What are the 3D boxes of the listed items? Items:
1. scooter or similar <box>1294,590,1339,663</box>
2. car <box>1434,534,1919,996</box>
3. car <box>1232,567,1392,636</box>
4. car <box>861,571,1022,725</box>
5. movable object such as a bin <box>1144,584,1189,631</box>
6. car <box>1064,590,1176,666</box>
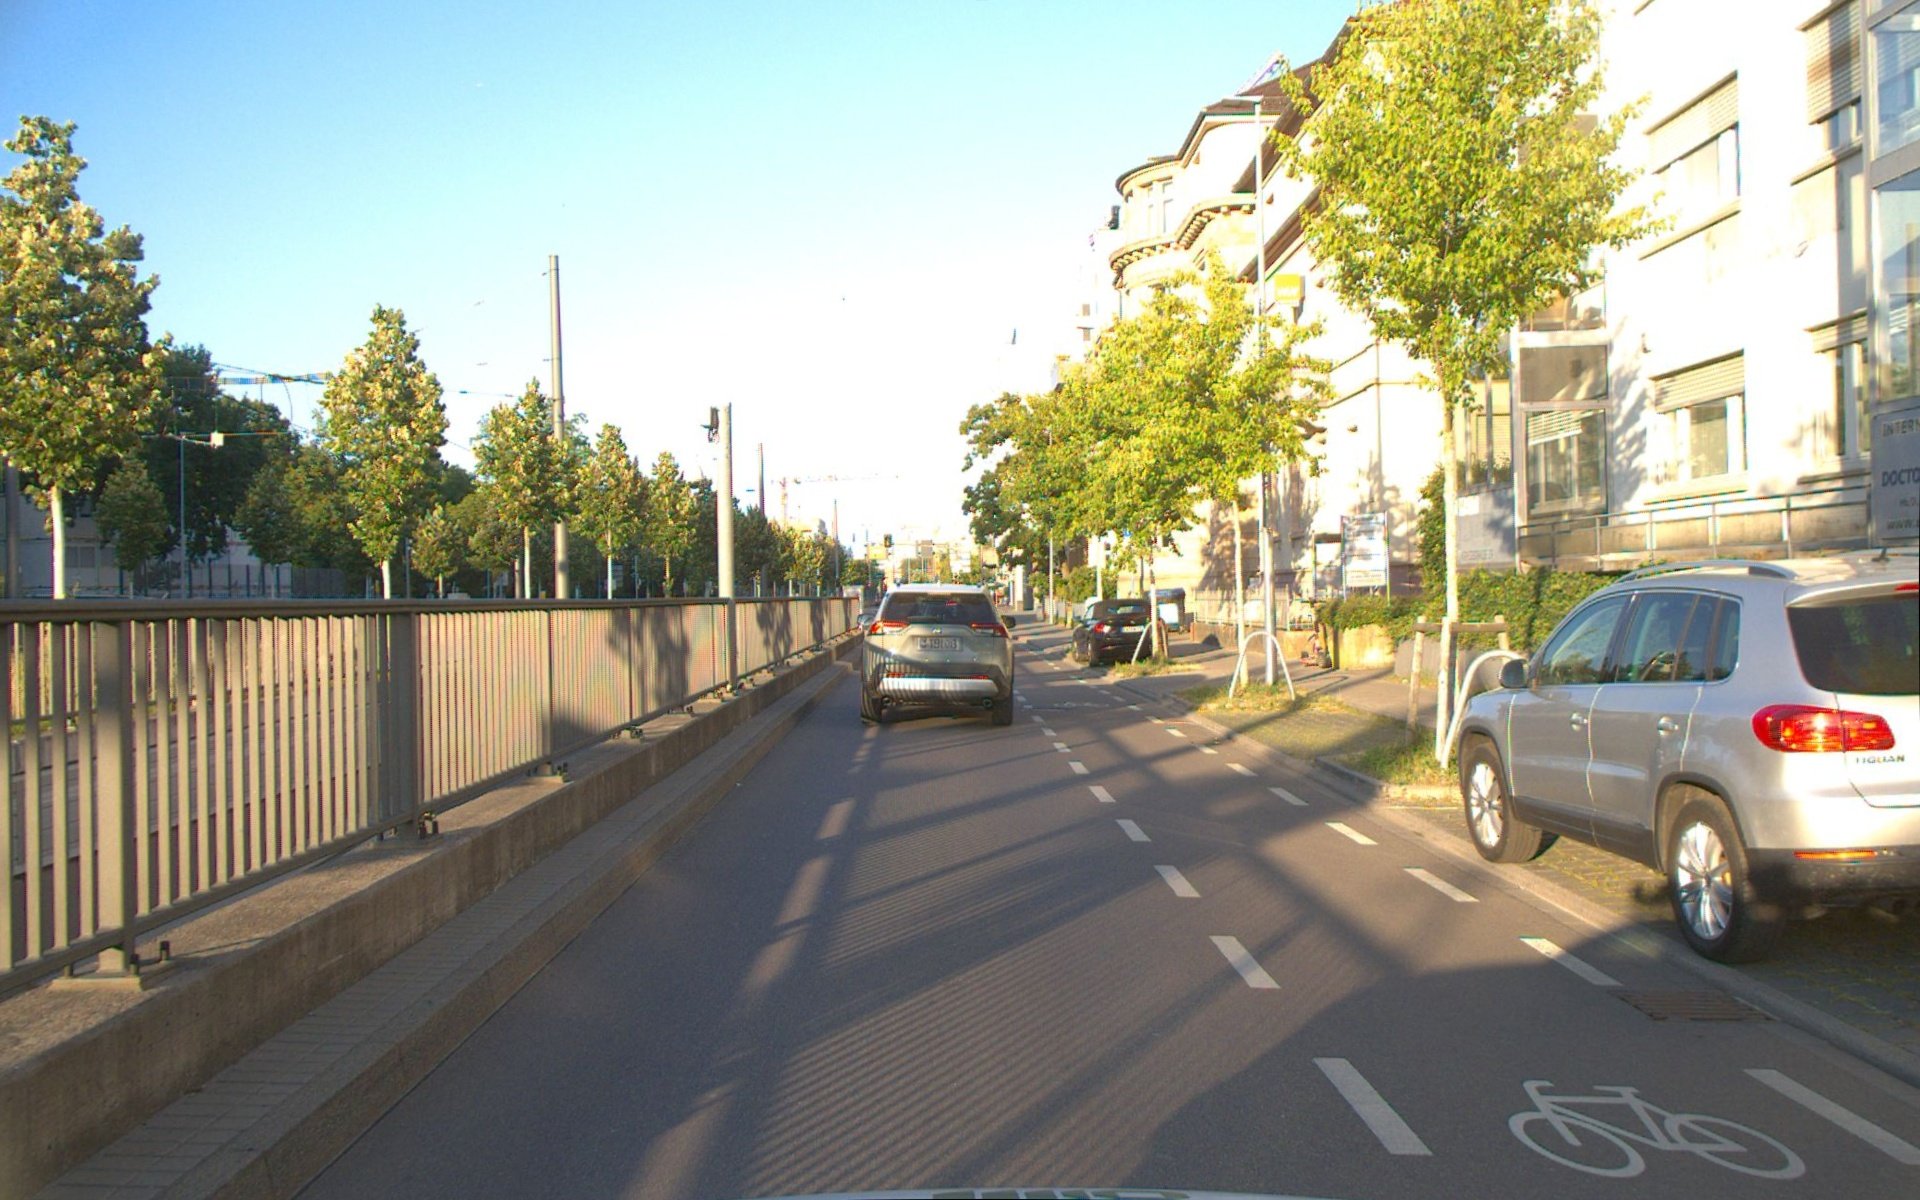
[{"bbox_3d":[6.368,0.463,29.583,0.481,1.280,1.207,0,-1,-4],"label":"scooter or similar"},{"bbox_3d":[4.026,0.589,8.418,1.817,1.736,4.252,-1,1,-3],"label":"car"},{"bbox_3d":[10.076,0.040,47.579,4.109,1.598,1.917,-5,0,1],"label":"car"},{"bbox_3d":[-0.302,0.546,20.935,1.821,1.744,4.190,1,0,-3],"label":"car"},{"bbox_3d":[6.688,0.243,53.635,1.235,1.487,1.123,-1,0,-4],"label":"movable object such as a bin"},{"bbox_3d":[3.563,0.581,37.609,1.757,1.496,4.442,-4,1,-4],"label":"car"}]
